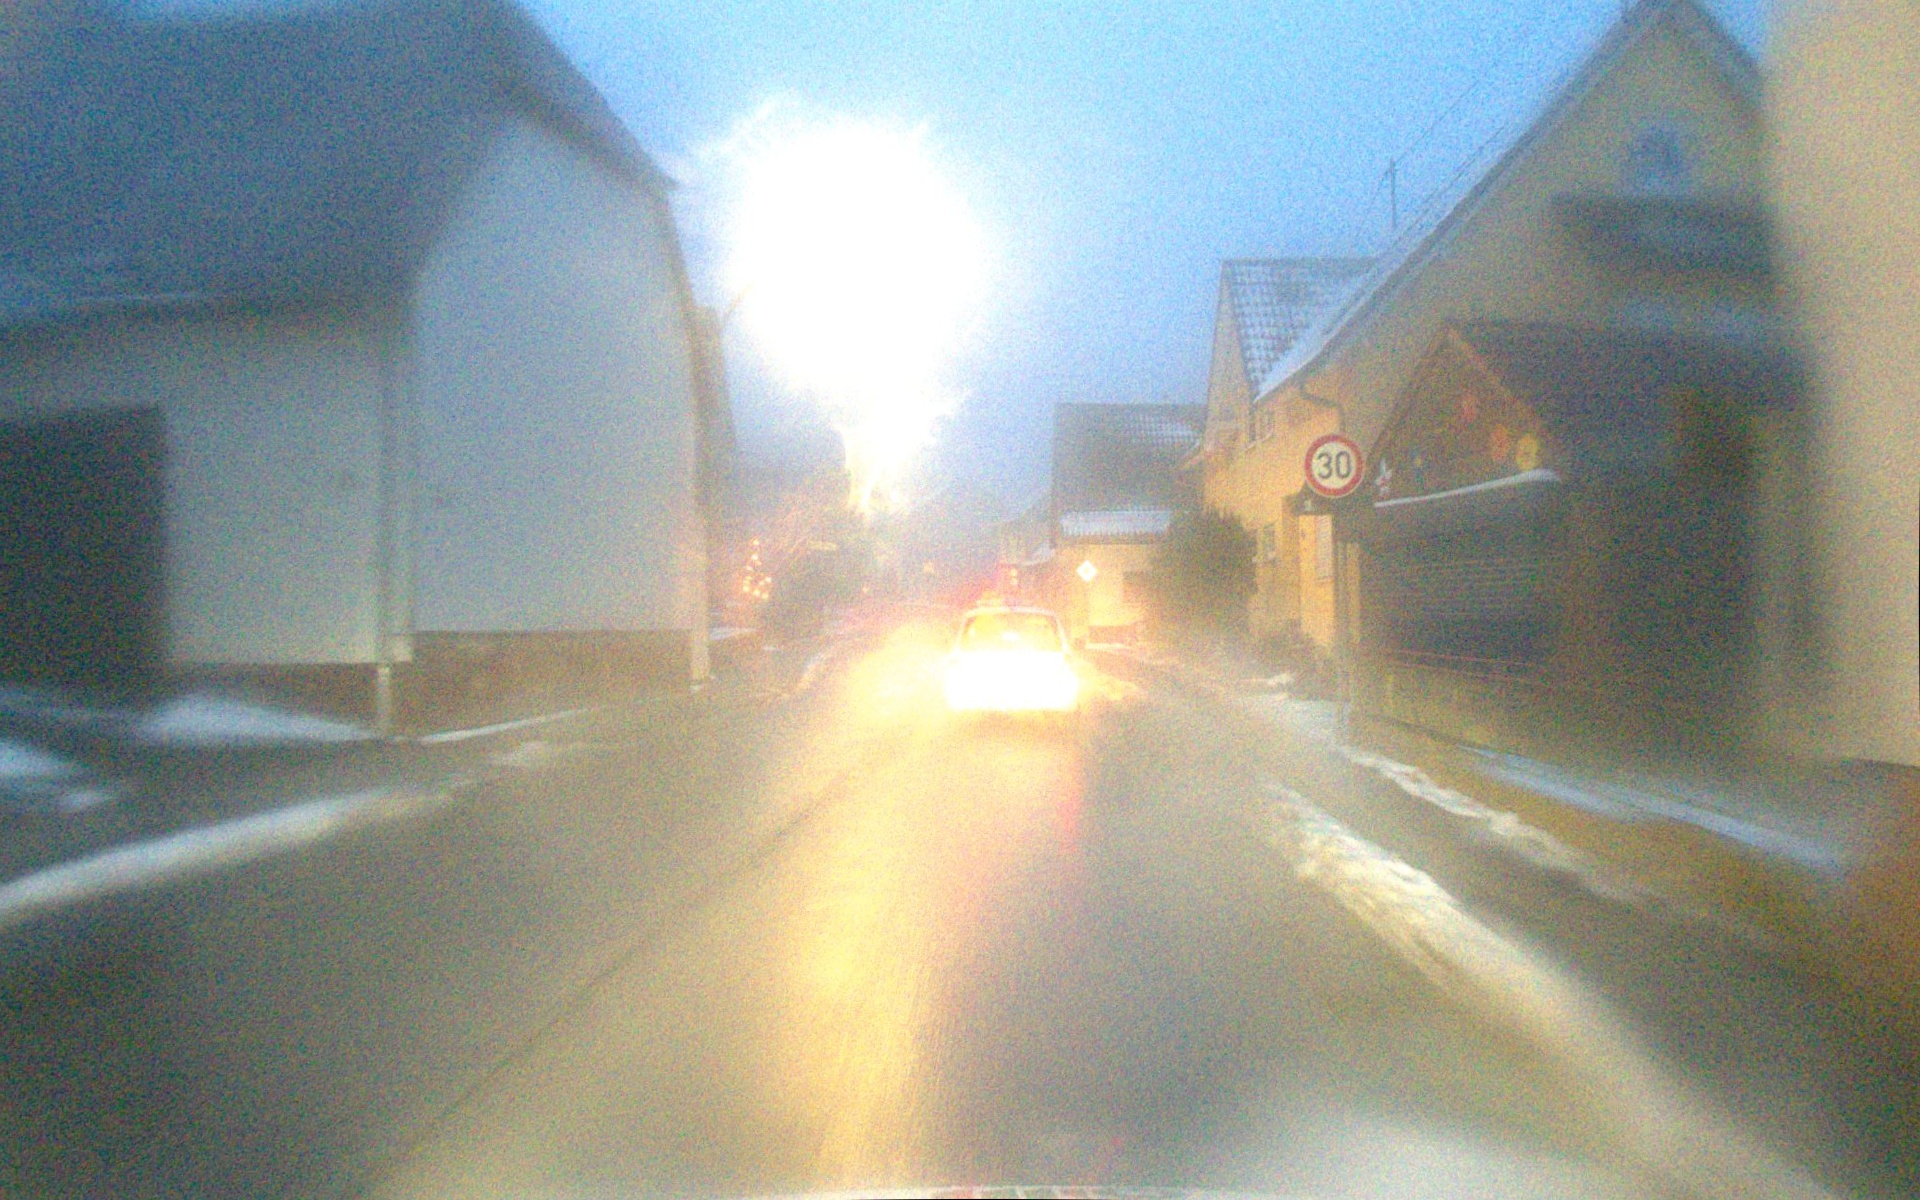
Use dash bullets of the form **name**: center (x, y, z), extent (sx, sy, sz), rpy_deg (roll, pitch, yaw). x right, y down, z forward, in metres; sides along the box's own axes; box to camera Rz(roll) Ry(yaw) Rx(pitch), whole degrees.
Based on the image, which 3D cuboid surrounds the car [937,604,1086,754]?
- **car**: center (0.649, 0.900, 20.047), extent (1.611, 1.624, 3.700), rpy_deg (1, -1, 2)
